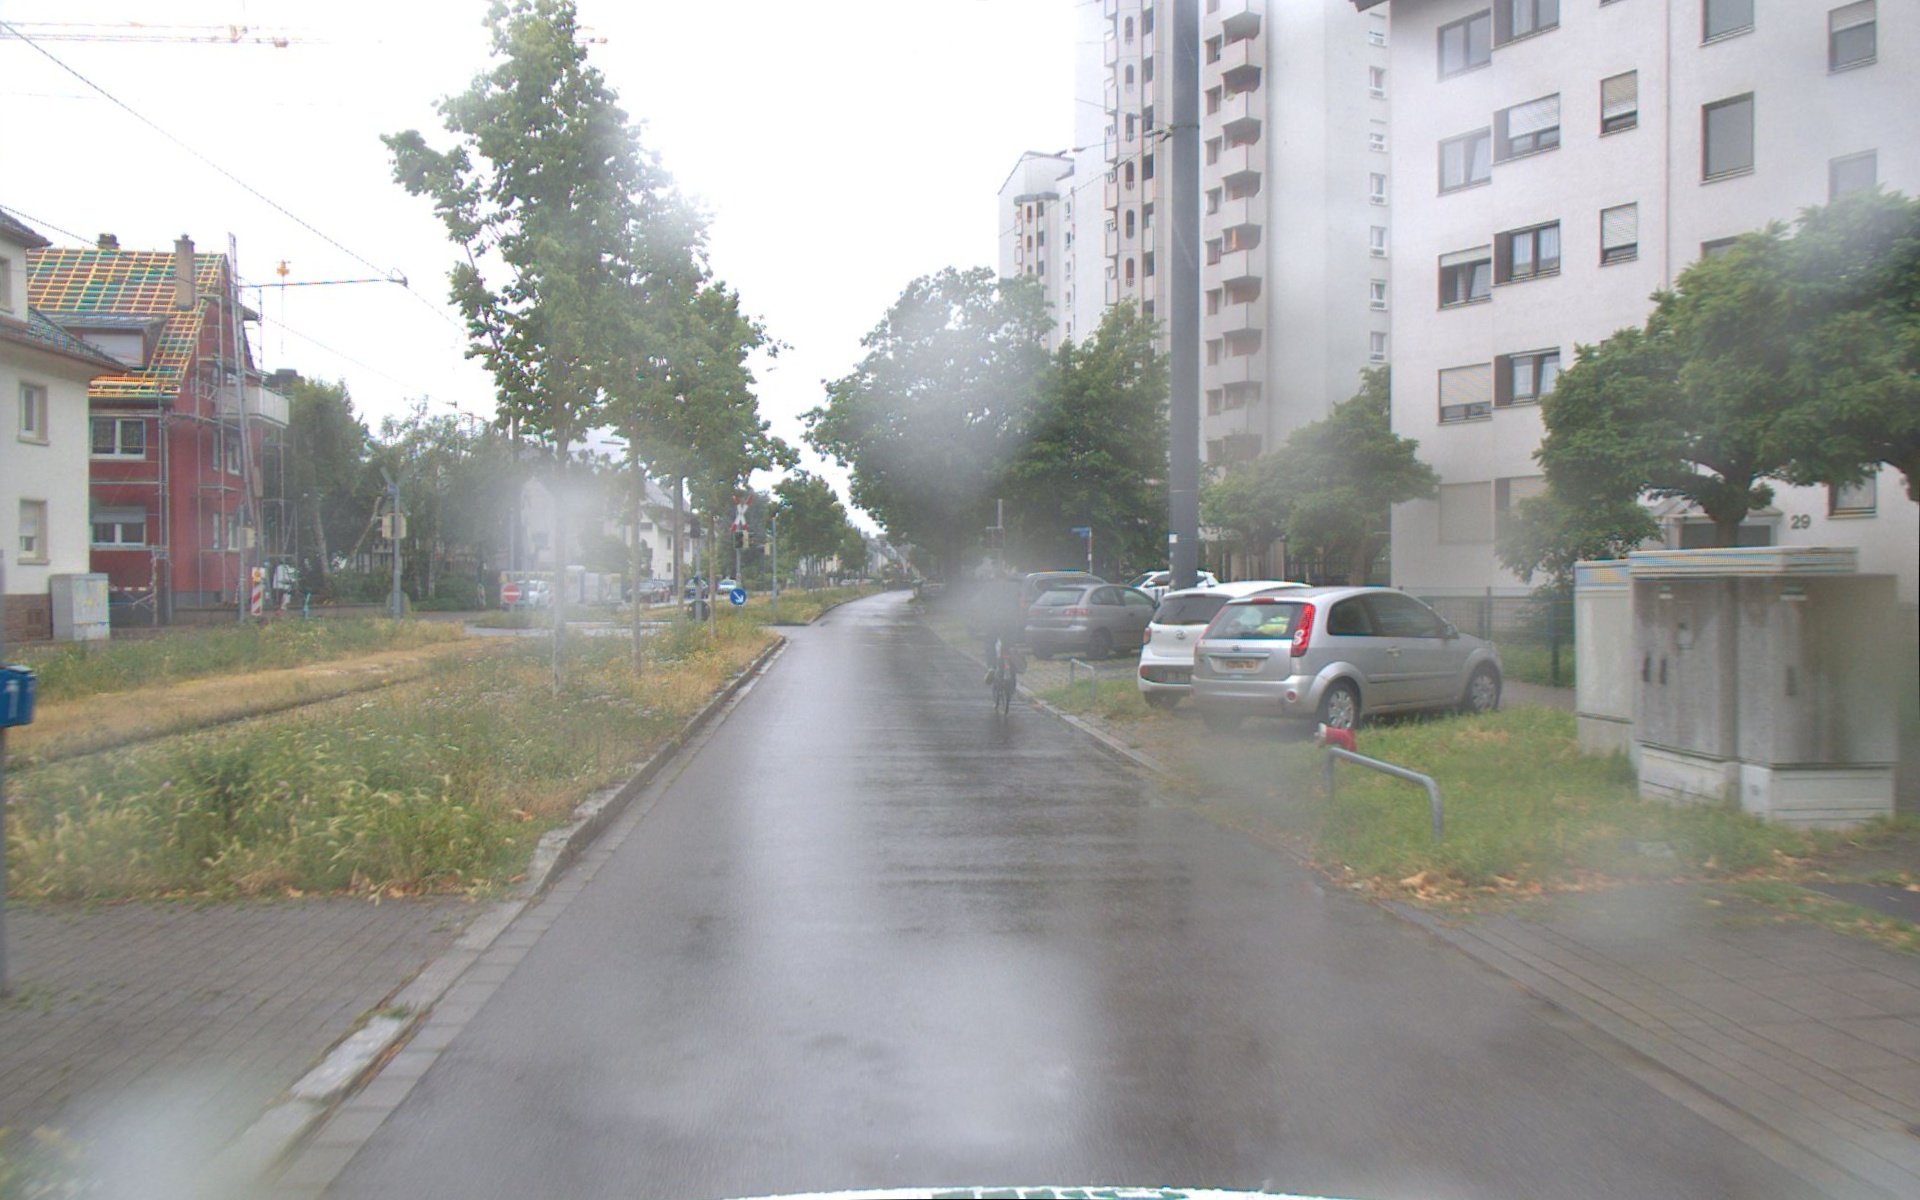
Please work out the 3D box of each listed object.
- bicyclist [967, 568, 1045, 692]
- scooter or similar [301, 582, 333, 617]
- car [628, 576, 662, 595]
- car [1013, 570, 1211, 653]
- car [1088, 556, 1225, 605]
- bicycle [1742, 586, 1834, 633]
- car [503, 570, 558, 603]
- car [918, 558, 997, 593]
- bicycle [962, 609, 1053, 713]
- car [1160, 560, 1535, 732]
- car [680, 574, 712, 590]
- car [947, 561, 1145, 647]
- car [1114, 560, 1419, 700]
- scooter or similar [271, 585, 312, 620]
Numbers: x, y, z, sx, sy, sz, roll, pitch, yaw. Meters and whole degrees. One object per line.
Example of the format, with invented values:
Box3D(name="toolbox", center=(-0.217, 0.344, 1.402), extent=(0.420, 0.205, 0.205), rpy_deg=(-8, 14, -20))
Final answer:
Box3D(name="bicyclist", center=(0.550, 0.350, 20.193), extent=(0.794, 1.457, 1.059), rpy_deg=(-1, 1, -6))
Box3D(name="scooter or similar", center=(-22.457, -0.017, 57.740), extent=(0.385, 1.201, 1.284), rpy_deg=(0, 1, 12))
Box3D(name="car", center=(-21.504, -1.000, 113.153), extent=(1.630, 1.266, 4.070), rpy_deg=(2, 1, -2))
Box3D(name="car", center=(3.014, 0.183, 32.324), extent=(3.971, 1.453, 1.706), rpy_deg=(-2, 2, -45))
Box3D(name="car", center=(7.330, -0.743, 61.823), extent=(4.728, 1.776, 1.990), rpy_deg=(-1, 1, -18))
Box3D(name="bicycle", center=(15.632, 0.169, 31.255), extent=(0.484, 0.862, 1.557), rpy_deg=(-1, 1, -29))
Box3D(name="car", center=(-21.772, -0.690, 84.005), extent=(1.675, 1.569, 4.421), rpy_deg=(2, 1, -1))
Box3D(name="car", center=(-0.133, -1.403, 93.958), extent=(4.100, 1.748, 1.976), rpy_deg=(-4, 3, -34))
Box3D(name="bicycle", center=(0.551, 0.710, 20.279), extent=(0.794, 1.116, 2.514), rpy_deg=(-1, 1, -6))
Box3D(name="car", center=(4.115, 0.424, 17.271), extent=(3.962, 1.534, 1.758), rpy_deg=(-2, -1, -40))
Box3D(name="car", center=(-22.178, -1.496, 139.045), extent=(1.857, 1.266, 4.688), rpy_deg=(2, 1, 1))
Box3D(name="car", center=(1.903, 0.043, 35.471), extent=(4.318, 1.680, 1.827), rpy_deg=(-2, 2, -45))
Box3D(name="car", center=(3.891, 0.333, 20.609), extent=(3.968, 1.534, 1.679), rpy_deg=(-2, -1, -43))
Box3D(name="scooter or similar", center=(-22.086, 0.079, 54.658), extent=(0.431, 1.149, 1.281), rpy_deg=(0, 1, 27))
